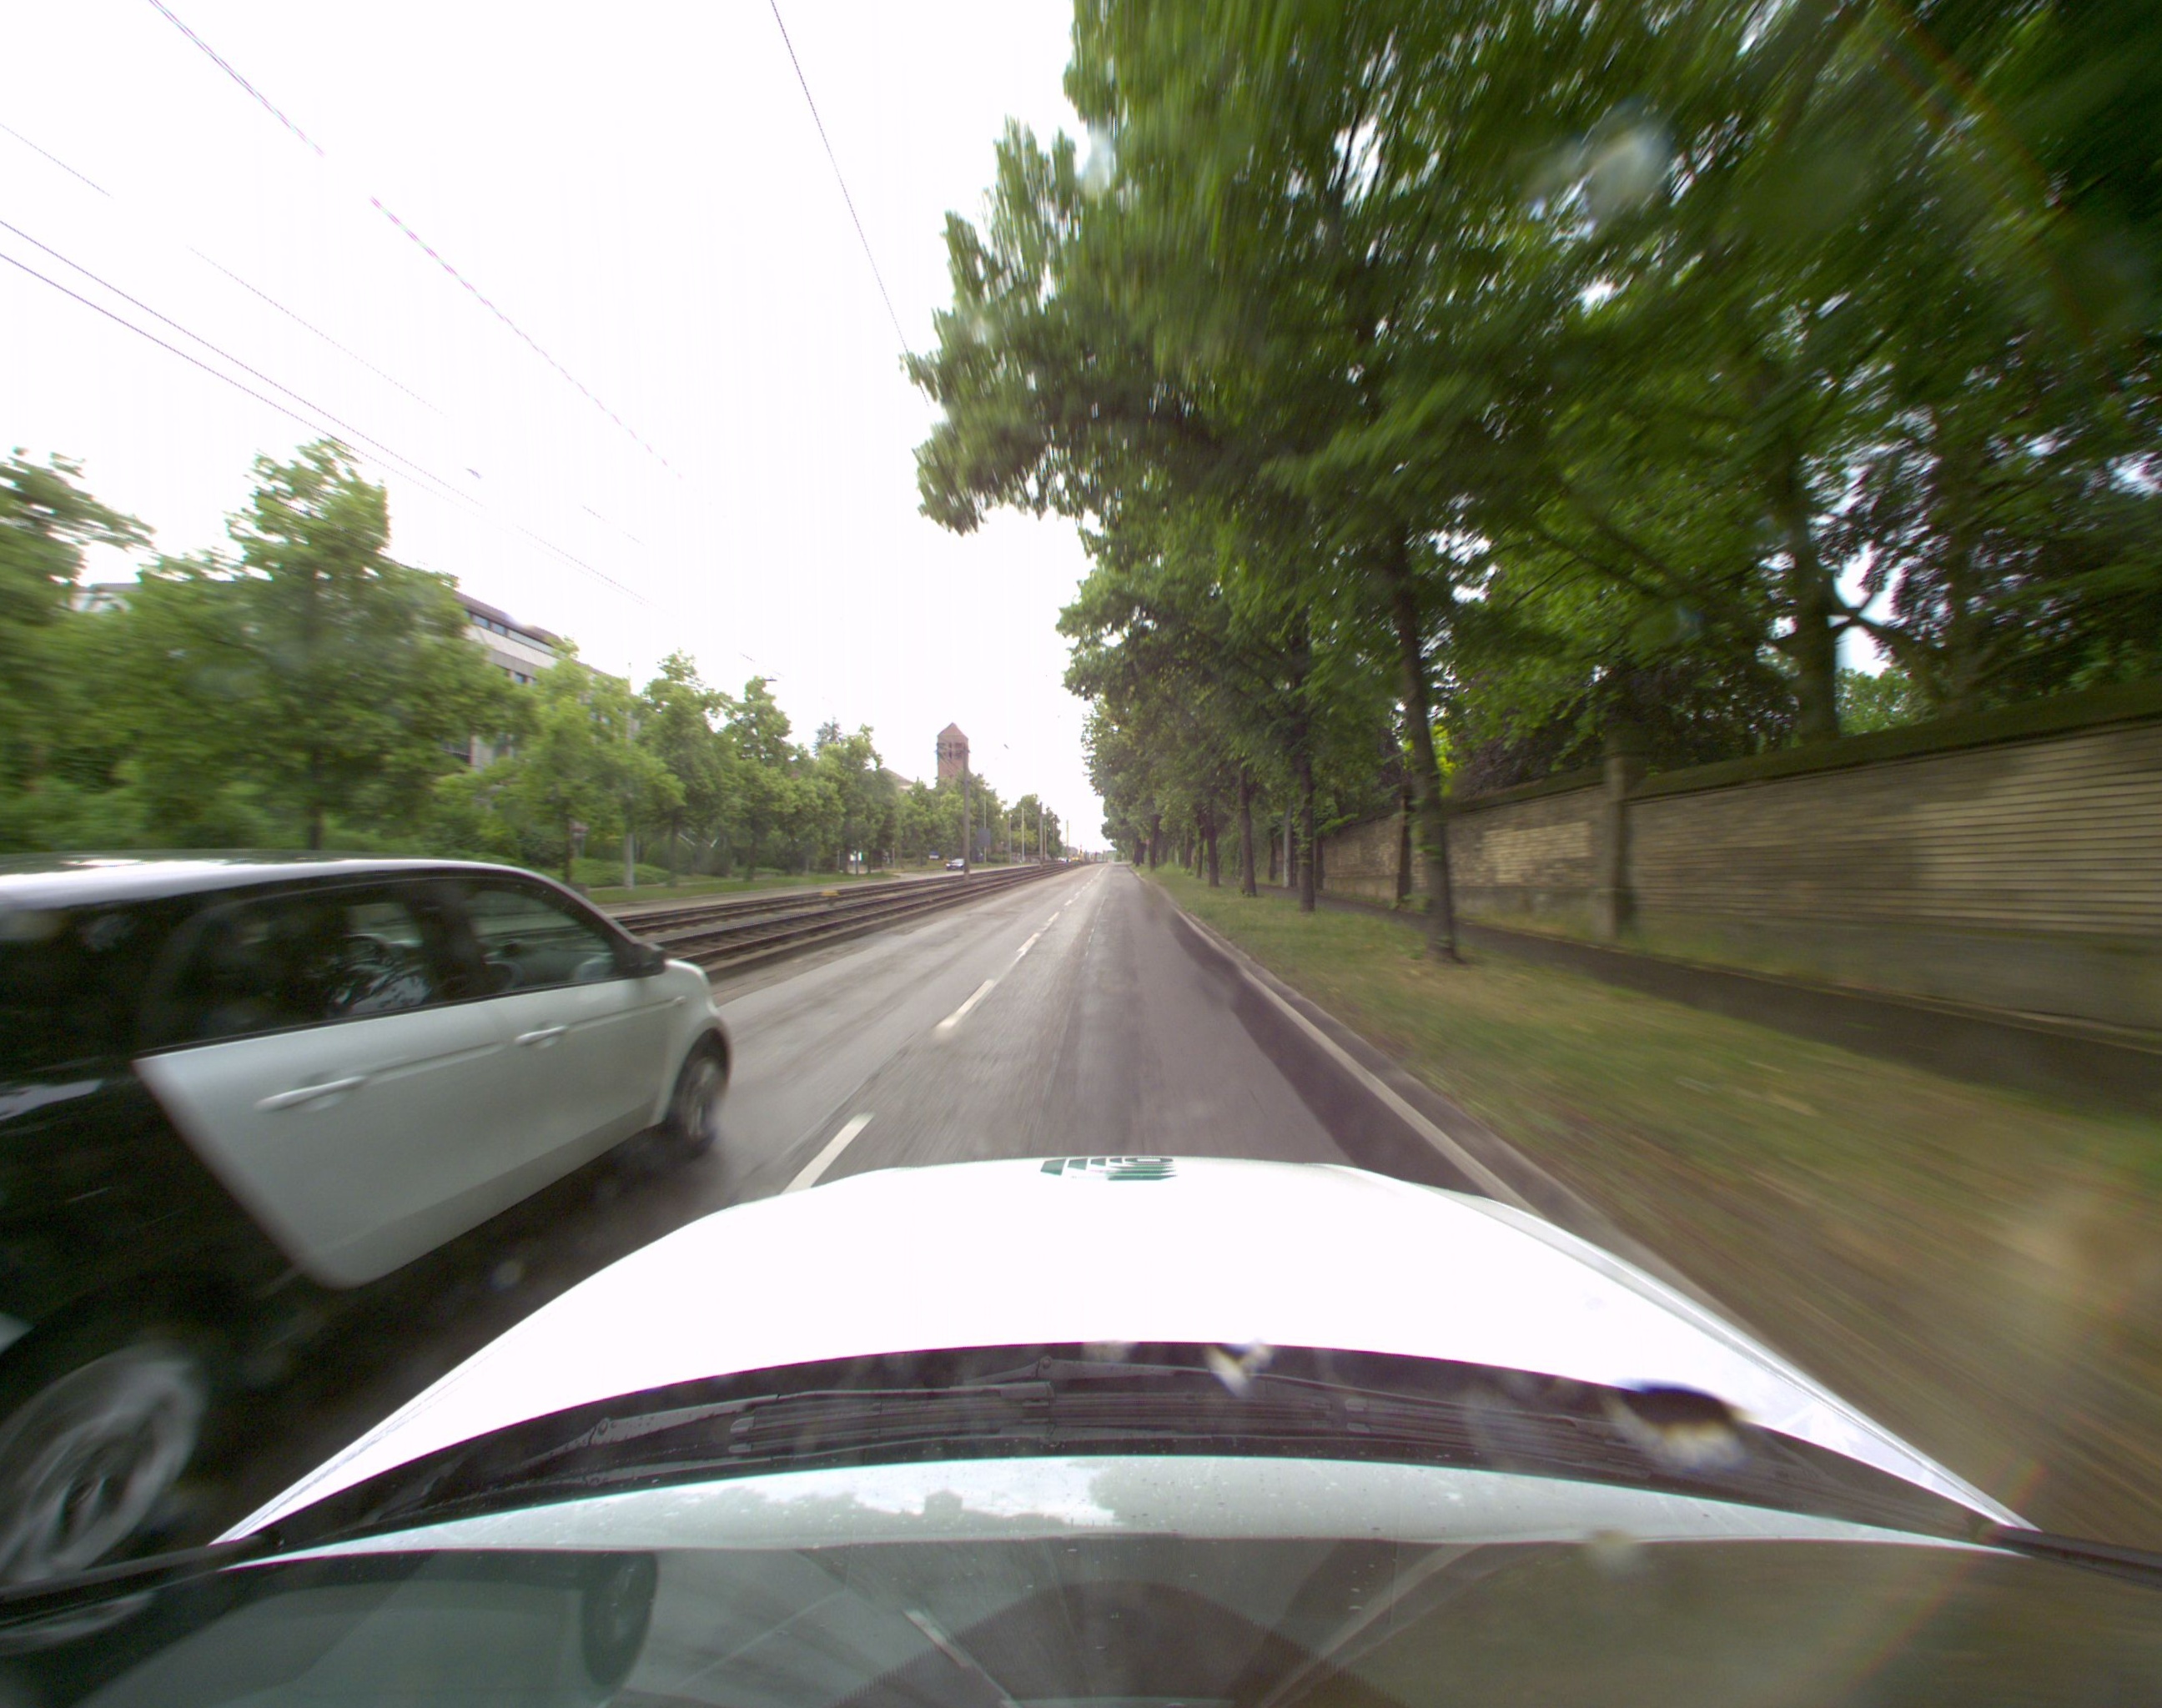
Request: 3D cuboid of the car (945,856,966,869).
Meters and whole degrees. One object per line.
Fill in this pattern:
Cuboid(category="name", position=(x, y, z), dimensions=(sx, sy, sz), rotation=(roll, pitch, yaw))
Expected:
Cuboid(category="car", position=(-15.173, 1.028, 98.709), dimensions=(1.788, 1.530, 4.623), rotation=(-1, 0, 1))

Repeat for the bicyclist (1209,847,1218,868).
Cuboid(category="bicyclist", position=(8.541, 0.223, 52.563), dimensions=(0.532, 1.389, 0.667), rotation=(-1, -1, 5))

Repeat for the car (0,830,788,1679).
Cuboid(category="car", position=(-2.723, 0.718, 3.099), dimensions=(1.669, 1.531, 3.724), rotation=(2, 0, 2))

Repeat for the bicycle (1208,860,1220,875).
Cuboid(category="bicycle", position=(8.533, 0.853, 52.307), dimensions=(0.540, 0.948, 2.553), rotation=(-1, 0, 6))
